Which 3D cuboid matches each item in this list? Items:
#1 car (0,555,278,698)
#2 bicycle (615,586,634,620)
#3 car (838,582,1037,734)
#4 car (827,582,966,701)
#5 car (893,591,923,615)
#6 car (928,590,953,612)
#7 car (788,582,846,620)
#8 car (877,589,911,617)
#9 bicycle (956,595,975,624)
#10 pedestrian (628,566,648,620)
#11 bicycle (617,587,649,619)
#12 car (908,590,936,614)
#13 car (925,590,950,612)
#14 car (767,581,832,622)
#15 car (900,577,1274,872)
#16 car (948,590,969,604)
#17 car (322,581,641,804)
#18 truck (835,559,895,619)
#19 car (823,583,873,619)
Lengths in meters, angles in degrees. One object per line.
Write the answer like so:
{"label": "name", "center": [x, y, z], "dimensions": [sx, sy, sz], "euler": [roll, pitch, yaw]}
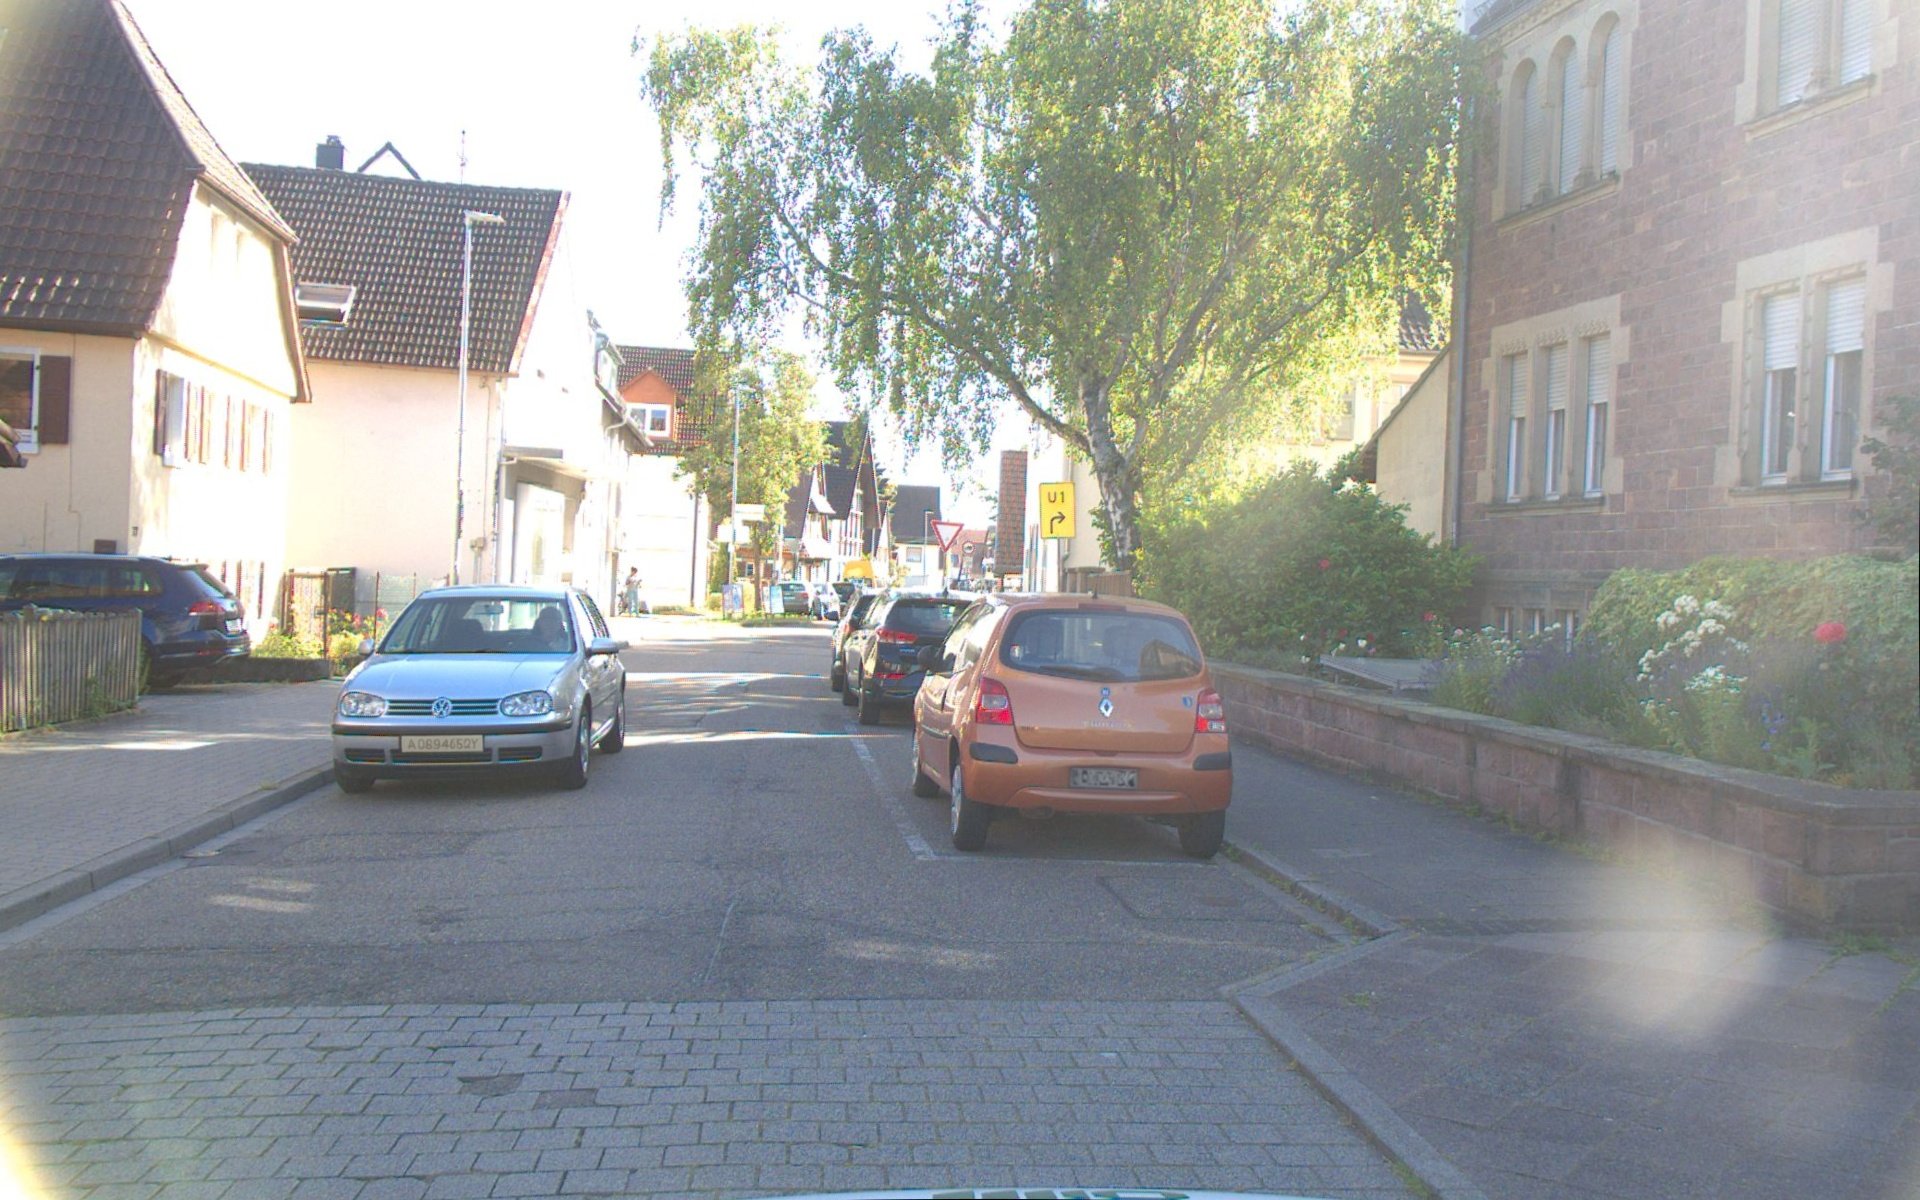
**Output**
{"label": "car", "center": [-9.869, 0.261, 18.152], "dimensions": [4.083, 1.487, 1.844], "euler": [0, 1, -11]}
{"label": "bicycle", "center": [-11.031, 0.112, 54.394], "dimensions": [0.415, 1.071, 1.380], "euler": [2, -1, -4]}
{"label": "car", "center": [-0.380, 0.585, 19.240], "dimensions": [1.773, 1.461, 4.279], "euler": [2, 1, -8]}
{"label": "car", "center": [-0.971, 0.531, 23.929], "dimensions": [1.772, 1.461, 4.283], "euler": [2, 1, -4]}
{"label": "car", "center": [-3.097, 0.193, 99.169], "dimensions": [1.555, 1.359, 3.615], "euler": [3, 0, 2]}
{"label": "car", "center": [-1.392, 0.066, 119.688], "dimensions": [1.555, 1.468, 3.615], "euler": [3, 0, 2]}
{"label": "car", "center": [-6.105, 0.069, 71.113], "dimensions": [1.768, 1.532, 4.110], "euler": [2, 0, 5]}
{"label": "car", "center": [-3.757, 0.157, 94.561], "dimensions": [1.611, 1.457, 3.615], "euler": [3, 0, 2]}
{"label": "bicycle", "center": [0.234, 0.386, 68.285], "dimensions": [0.424, 1.197, 1.830], "euler": [2, 0, 9]}
{"label": "pedestrian", "center": [-10.619, -0.226, 54.588], "dimensions": [0.473, 1.722, 0.556], "euler": [3, -2, 0]}
{"label": "bicycle", "center": [-11.415, 0.114, 57.787], "dimensions": [0.566, 1.071, 2.036], "euler": [2, -1, 3]}
{"label": "car", "center": [-2.476, 0.111, 107.795], "dimensions": [1.555, 1.468, 3.615], "euler": [3, 0, 2]}
{"label": "car", "center": [-1.536, 0.083, 115.038], "dimensions": [1.555, 1.468, 3.615], "euler": [3, 0, 2]}
{"label": "car", "center": [-6.443, 0.069, 66.731], "dimensions": [1.828, 1.532, 4.110], "euler": [2, 0, 5]}
{"label": "car", "center": [0.626, 0.656, 10.854], "dimensions": [1.617, 1.504, 3.927], "euler": [2, 1, -8]}
{"label": "car", "center": [-0.217, -0.348, 200.569], "dimensions": [1.937, 1.610, 3.986], "euler": [3, 0, -10]}
{"label": "car", "center": [-3.485, 0.584, 12.722], "dimensions": [1.638, 1.427, 3.888], "euler": [1, 1, -6]}
{"label": "truck", "center": [-4.847, -0.513, 85.625], "dimensions": [2.220, 2.918, 5.785], "euler": [2, 0, 5]}
{"label": "car", "center": [-5.400, 0.062, 80.025], "dimensions": [1.768, 1.650, 3.883], "euler": [2, 0, 5]}
